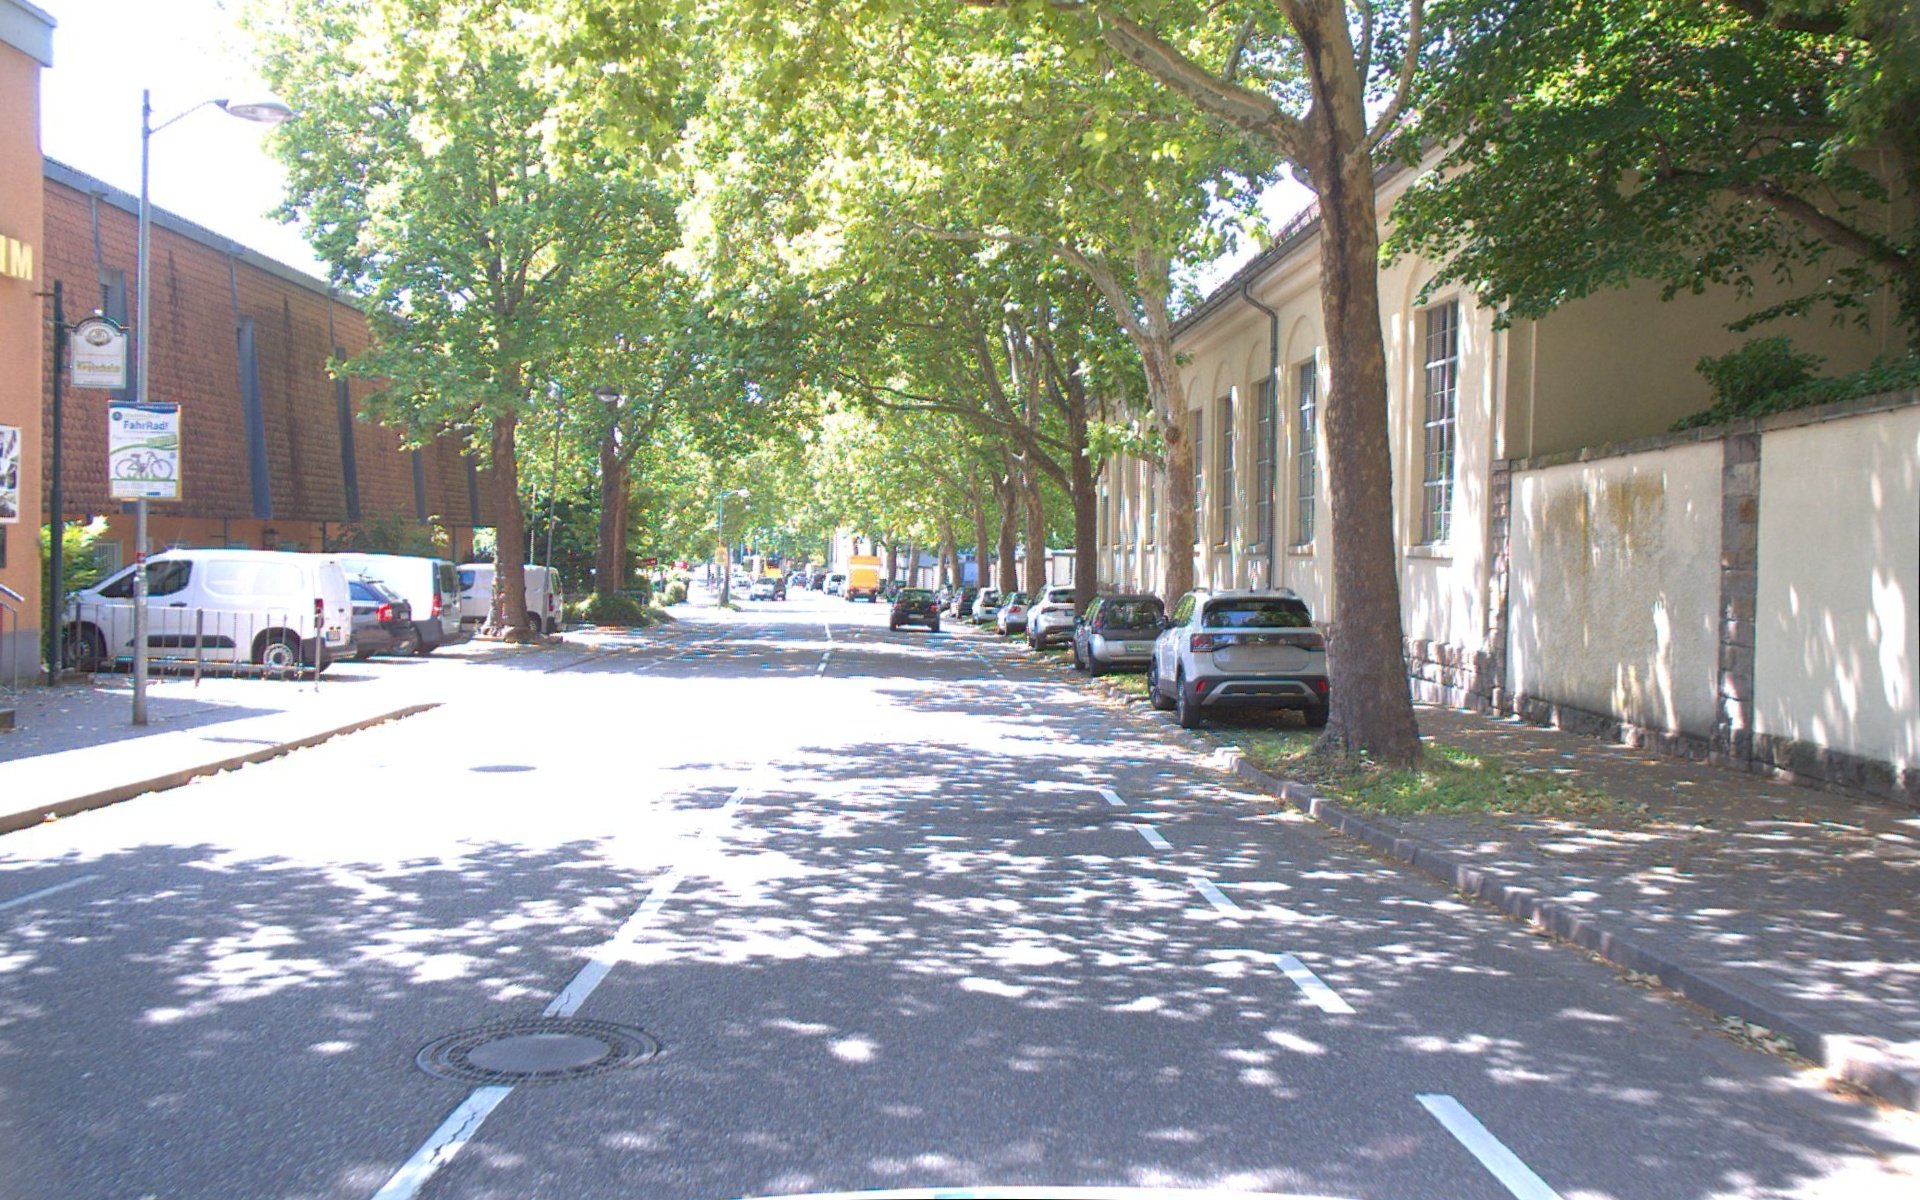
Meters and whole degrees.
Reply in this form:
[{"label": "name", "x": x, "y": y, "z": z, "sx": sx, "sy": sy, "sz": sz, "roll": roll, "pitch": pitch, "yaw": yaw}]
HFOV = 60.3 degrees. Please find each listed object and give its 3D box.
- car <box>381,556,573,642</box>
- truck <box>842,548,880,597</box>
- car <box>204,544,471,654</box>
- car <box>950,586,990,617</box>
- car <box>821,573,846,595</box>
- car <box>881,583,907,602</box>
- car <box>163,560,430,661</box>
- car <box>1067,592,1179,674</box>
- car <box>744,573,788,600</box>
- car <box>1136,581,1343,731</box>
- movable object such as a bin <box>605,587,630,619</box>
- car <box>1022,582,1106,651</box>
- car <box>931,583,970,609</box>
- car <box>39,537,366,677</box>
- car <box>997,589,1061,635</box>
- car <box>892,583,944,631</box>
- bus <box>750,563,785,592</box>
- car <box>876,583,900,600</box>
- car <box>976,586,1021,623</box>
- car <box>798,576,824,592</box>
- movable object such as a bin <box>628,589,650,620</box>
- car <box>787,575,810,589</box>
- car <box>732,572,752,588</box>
[{"label": "car", "x": -11.536, "y": -0.033, "z": 39.731, "sx": 4.048, "sy": 1.835, "sz": 1.901, "roll": 3, "pitch": 0, "yaw": -5}, {"label": "truck", "x": -6.922, "y": -1.862, "z": 115.568, "sx": 2.325, "sy": 3.189, "sz": 5.760, "roll": 1, "pitch": -1, "yaw": -6}, {"label": "car", "x": -11.798, "y": -0.020, "z": 31.600, "sx": 4.337, "sy": 1.835, "sz": 1.901, "roll": 3, "pitch": 0, "yaw": -5}, {"label": "car", "x": 0.464, "y": 0.053, "z": 81.644, "sx": 1.731, "sy": 1.491, "sz": 3.873, "roll": 0, "pitch": 1, "yaw": -4}, {"label": "car", "x": -10.453, "y": -1.327, "z": 136.790, "sx": 1.843, "sy": 1.715, "sz": 3.994, "roll": 1, "pitch": -1, "yaw": -7}, {"label": "car", "x": -5.085, "y": -0.563, "z": 126.726, "sx": 1.733, "sy": 1.398, "sz": 3.724, "roll": 1, "pitch": 0, "yaw": -7}, {"label": "car", "x": -11.594, "y": 0.175, "z": 29.117, "sx": 3.909, "sy": 1.541, "sz": 1.866, "roll": 3, "pitch": 0, "yaw": -5}, {"label": "car", "x": 3.086, "y": 0.586, "z": 32.108, "sx": 1.588, "sy": 1.465, "sz": 4.431, "roll": 0, "pitch": 0, "yaw": -2}, {"label": "car", "x": -13.130, "y": -0.878, "z": 112.152, "sx": 1.951, "sy": 1.695, "sz": 4.003, "roll": 1, "pitch": -1, "yaw": 9}, {"label": "car", "x": 3.337, "y": 0.587, "z": 20.595, "sx": 1.705, "sy": 1.584, "sz": 4.780, "roll": -1, "pitch": 1, "yaw": -1}, {"label": "movable object such as a bin", "x": -11.998, "y": 0.106, "z": 57.933, "sx": 0.720, "sy": 1.097, "sz": 0.701, "roll": 1, "pitch": 0, "yaw": -3}, {"label": "car", "x": 2.708, "y": 0.396, "z": 43.956, "sx": 1.771, "sy": 1.718, "sz": 4.750, "roll": 0, "pitch": 0, "yaw": -2}, {"label": "car", "x": -0.528, "y": -0.223, "z": 91.270, "sx": 1.733, "sy": 1.398, "sz": 3.724, "roll": 0, "pitch": 1, "yaw": -7}, {"label": "car", "x": -11.132, "y": 0.103, "z": 24.544, "sx": 3.909, "sy": 1.824, "sz": 1.866, "roll": 3, "pitch": 0, "yaw": -5}, {"label": "car", "x": 2.233, "y": 0.368, "z": 54.511, "sx": 1.731, "sy": 1.458, "sz": 3.873, "roll": 0, "pitch": 1, "yaw": -4}, {"label": "car", "x": -1.467, "y": 0.202, "z": 56.606, "sx": 1.677, "sy": 1.472, "sz": 4.056, "roll": 1, "pitch": 2, "yaw": -3}, {"label": "bus", "x": -22.386, "y": -2.529, "z": 191.673, "sx": 2.619, "sy": 3.205, "sz": 11.155, "roll": 0, "pitch": 0, "yaw": -14}, {"label": "car", "x": -6.077, "y": -0.752, "z": 139.415, "sx": 1.733, "sy": 1.398, "sz": 3.724, "roll": 0, "pitch": 1, "yaw": -7}, {"label": "car", "x": 1.568, "y": 0.165, "z": 69.066, "sx": 1.546, "sy": 1.491, "sz": 3.873, "roll": 0, "pitch": 1, "yaw": -4}, {"label": "car", "x": -13.615, "y": -1.460, "z": 151.196, "sx": 1.737, "sy": 1.398, "sz": 3.715, "roll": 0, "pitch": 1, "yaw": -15}, {"label": "movable object such as a bin", "x": -11.263, "y": 0.167, "z": 58.055, "sx": 0.611, "sy": 1.066, "sz": 0.620, "roll": 1, "pitch": 0, "yaw": -1}, {"label": "car", "x": -16.074, "y": -1.780, "z": 164.733, "sx": 1.737, "sy": 1.398, "sz": 3.716, "roll": 0, "pitch": 1, "yaw": -14}, {"label": "car", "x": -20.542, "y": -1.895, "z": 155.954, "sx": 1.678, "sy": 1.473, "sz": 4.053, "roll": 0, "pitch": 0, "yaw": -5}]
